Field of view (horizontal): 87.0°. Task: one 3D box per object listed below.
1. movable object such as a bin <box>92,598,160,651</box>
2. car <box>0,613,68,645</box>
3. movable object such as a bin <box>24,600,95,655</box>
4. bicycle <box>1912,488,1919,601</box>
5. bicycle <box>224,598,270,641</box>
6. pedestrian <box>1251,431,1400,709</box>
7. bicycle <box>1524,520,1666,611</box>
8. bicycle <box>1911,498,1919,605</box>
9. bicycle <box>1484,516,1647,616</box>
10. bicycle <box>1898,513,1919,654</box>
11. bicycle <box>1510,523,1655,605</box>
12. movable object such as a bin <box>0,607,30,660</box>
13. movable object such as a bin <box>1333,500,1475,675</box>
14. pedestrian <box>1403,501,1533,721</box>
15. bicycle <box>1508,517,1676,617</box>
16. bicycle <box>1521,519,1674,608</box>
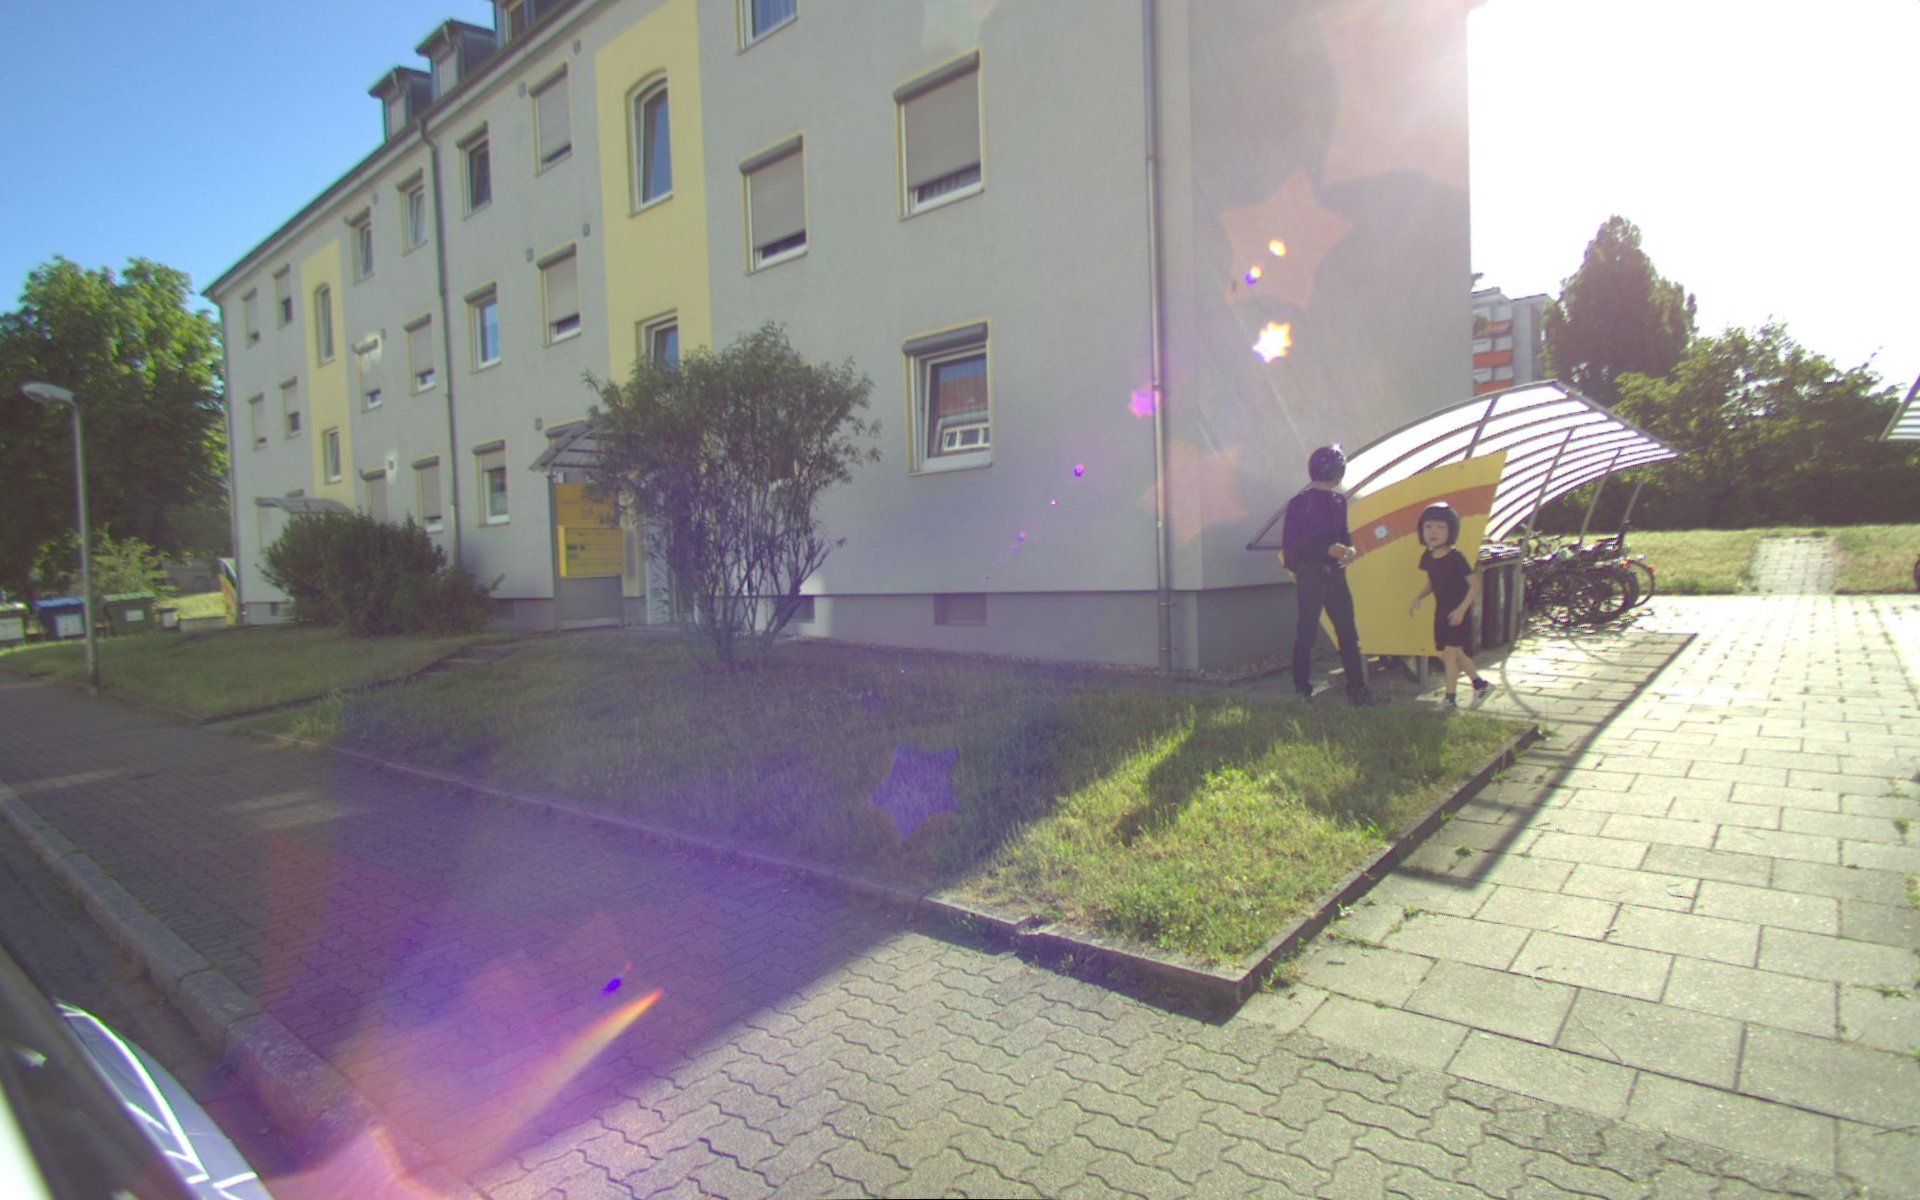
[{"bbox_3d":[-26.292,0.754,31.912,1.072,1.463,1.347,-1,6,41],"label":"movable object such as a bin"},{"bbox_3d":[-48.546,1.525,51.813,1.728,1.508,4.087,-1,1,41],"label":"car"},{"bbox_3d":[-27.298,0.830,30.699,1.082,1.469,1.342,-1,6,41],"label":"movable object such as a bin"},{"bbox_3d":[12.741,-0.708,12.221,1.757,1.408,0.460,-1,0,41],"label":"bicycle"},{"bbox_3d":[-22.108,0.599,31.365,2.008,1.259,0.633,-1,2,41],"label":"bicycle"},{"bbox_3d":[2.616,-0.205,7.226,0.718,1.837,0.797,-1,1,42],"label":"pedestrian"},{"bbox_3d":[8.377,-0.433,13.395,1.526,1.135,0.401,-1,0,41],"label":"bicycle"},{"bbox_3d":[12.035,-0.582,11.352,1.943,1.244,0.522,-1,0,41],"label":"bicycle"},{"bbox_3d":[7.803,-0.408,13.089,1.734,1.200,0.450,-1,0,41],"label":"bicycle"},{"bbox_3d":[8.499,-0.163,7.776,1.848,1.125,0.527,-1,3,41],"label":"bicycle"},{"bbox_3d":[9.085,-0.510,14.806,1.720,1.112,0.522,-2,1,41],"label":"bicycle"},{"bbox_3d":[-28.196,1.020,29.540,1.197,1.470,1.302,-1,5,41],"label":"movable object such as a bin"},{"bbox_3d":[3.898,-0.120,8.853,0.812,1.416,1.073,-1,2,42],"label":"movable object such as a bin"},{"bbox_3d":[3.293,0.060,6.552,0.575,1.327,0.679,-1,1,42],"label":"pedestrian"},{"bbox_3d":[7.717,-0.376,12.411,1.684,1.153,0.457,-1,0,41],"label":"bicycle"},{"bbox_3d":[8.833,-0.477,14.071,1.720,1.149,0.522,-1,0,41],"label":"bicycle"}]
